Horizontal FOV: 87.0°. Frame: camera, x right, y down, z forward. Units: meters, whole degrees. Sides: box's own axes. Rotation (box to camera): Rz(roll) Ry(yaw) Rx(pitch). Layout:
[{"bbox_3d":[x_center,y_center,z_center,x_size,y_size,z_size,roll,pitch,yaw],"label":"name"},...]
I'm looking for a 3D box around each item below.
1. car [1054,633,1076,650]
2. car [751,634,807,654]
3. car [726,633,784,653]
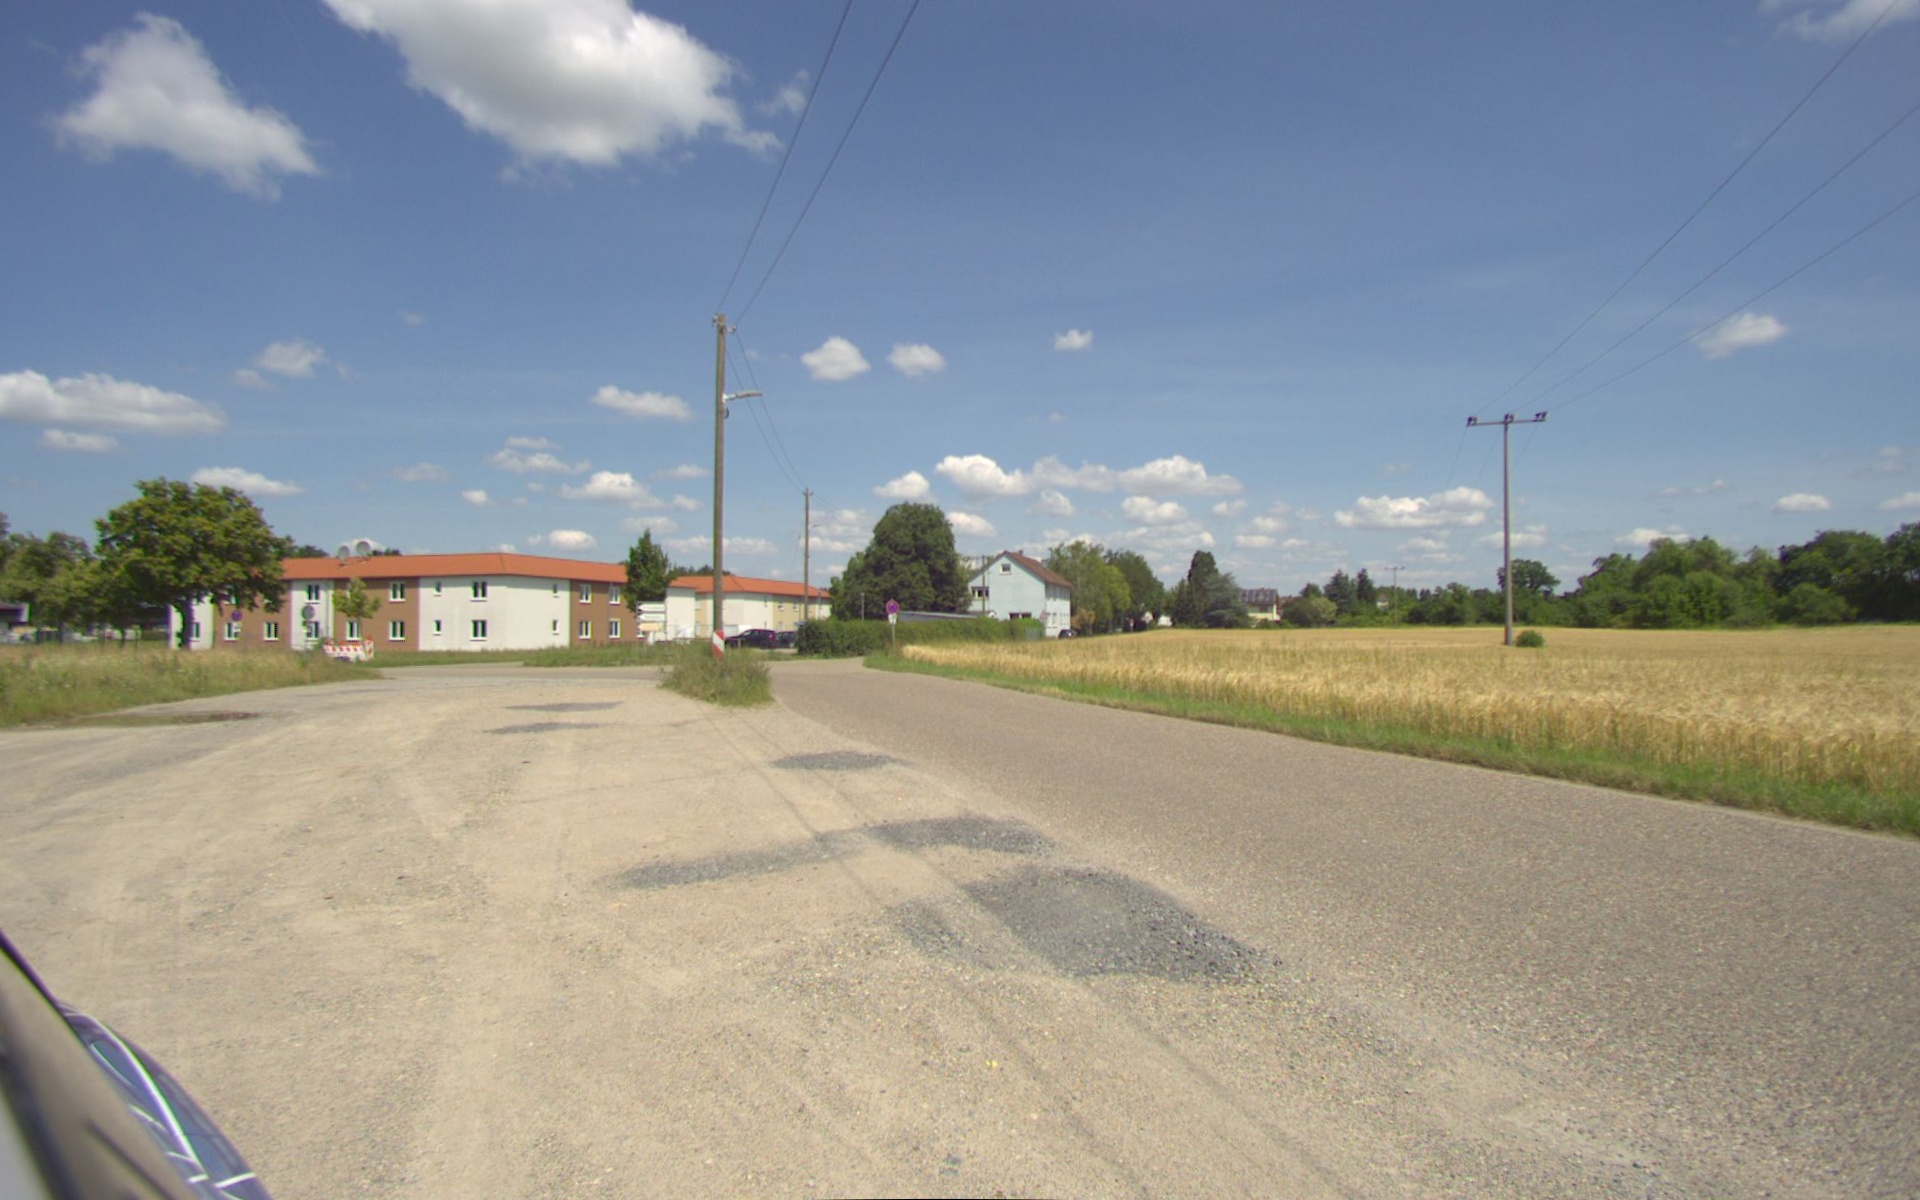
[{"bbox_3d":[11.514,4.476,110.364,1.733,1.692,4.234,-2,-1,15],"label":"car"},{"bbox_3d":[-15.069,3.674,84.335,4.110,1.627,1.990,-1,-2,15],"label":"car"},{"bbox_3d":[-16.357,3.425,80.638,4.110,1.627,1.990,-1,-2,15],"label":"car"}]
